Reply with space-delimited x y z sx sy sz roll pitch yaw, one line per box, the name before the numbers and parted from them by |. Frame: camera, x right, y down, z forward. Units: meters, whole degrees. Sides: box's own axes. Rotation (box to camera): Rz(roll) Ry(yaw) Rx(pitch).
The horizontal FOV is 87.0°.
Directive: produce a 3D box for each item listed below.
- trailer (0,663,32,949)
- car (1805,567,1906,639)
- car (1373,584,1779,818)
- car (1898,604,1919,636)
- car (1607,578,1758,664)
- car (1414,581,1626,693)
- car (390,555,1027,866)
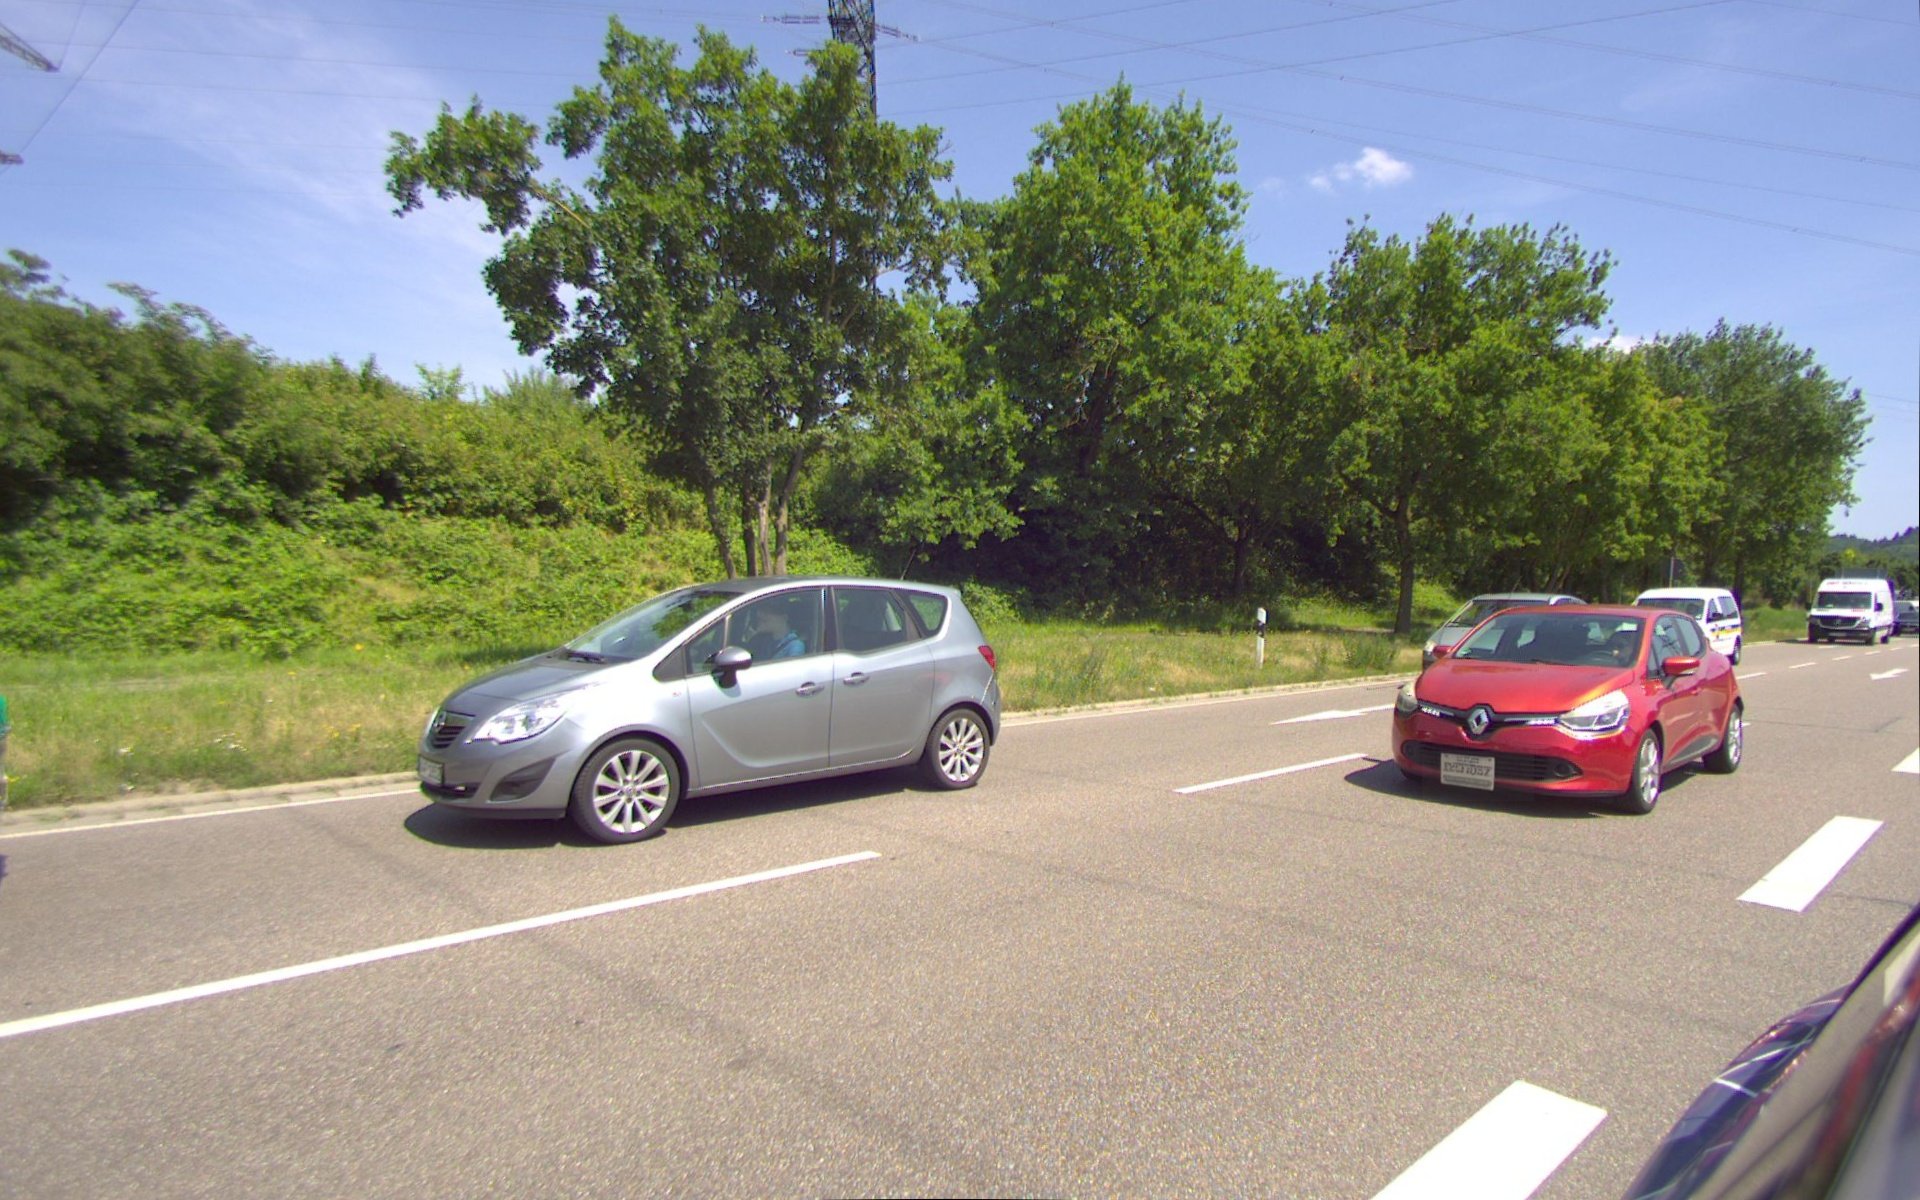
trailer | -5.528 0.845 3.559 3.265 1.019 1.709 0 0 -41
car | 36.021 0.106 40.613 6.897 2.640 2.230 0 0 -42
car | 5.221 0.635 8.367 3.994 1.480 1.746 0 0 -41
car | 53.699 1.099 56.373 3.933 1.705 1.875 -1 1 -43
car | 16.905 0.440 23.587 4.950 1.823 1.807 0 0 -42
car | 9.298 0.528 16.667 4.197 1.614 1.746 0 0 -41
car | -1.599 0.559 7.275 4.092 1.615 1.768 0 1 -41
